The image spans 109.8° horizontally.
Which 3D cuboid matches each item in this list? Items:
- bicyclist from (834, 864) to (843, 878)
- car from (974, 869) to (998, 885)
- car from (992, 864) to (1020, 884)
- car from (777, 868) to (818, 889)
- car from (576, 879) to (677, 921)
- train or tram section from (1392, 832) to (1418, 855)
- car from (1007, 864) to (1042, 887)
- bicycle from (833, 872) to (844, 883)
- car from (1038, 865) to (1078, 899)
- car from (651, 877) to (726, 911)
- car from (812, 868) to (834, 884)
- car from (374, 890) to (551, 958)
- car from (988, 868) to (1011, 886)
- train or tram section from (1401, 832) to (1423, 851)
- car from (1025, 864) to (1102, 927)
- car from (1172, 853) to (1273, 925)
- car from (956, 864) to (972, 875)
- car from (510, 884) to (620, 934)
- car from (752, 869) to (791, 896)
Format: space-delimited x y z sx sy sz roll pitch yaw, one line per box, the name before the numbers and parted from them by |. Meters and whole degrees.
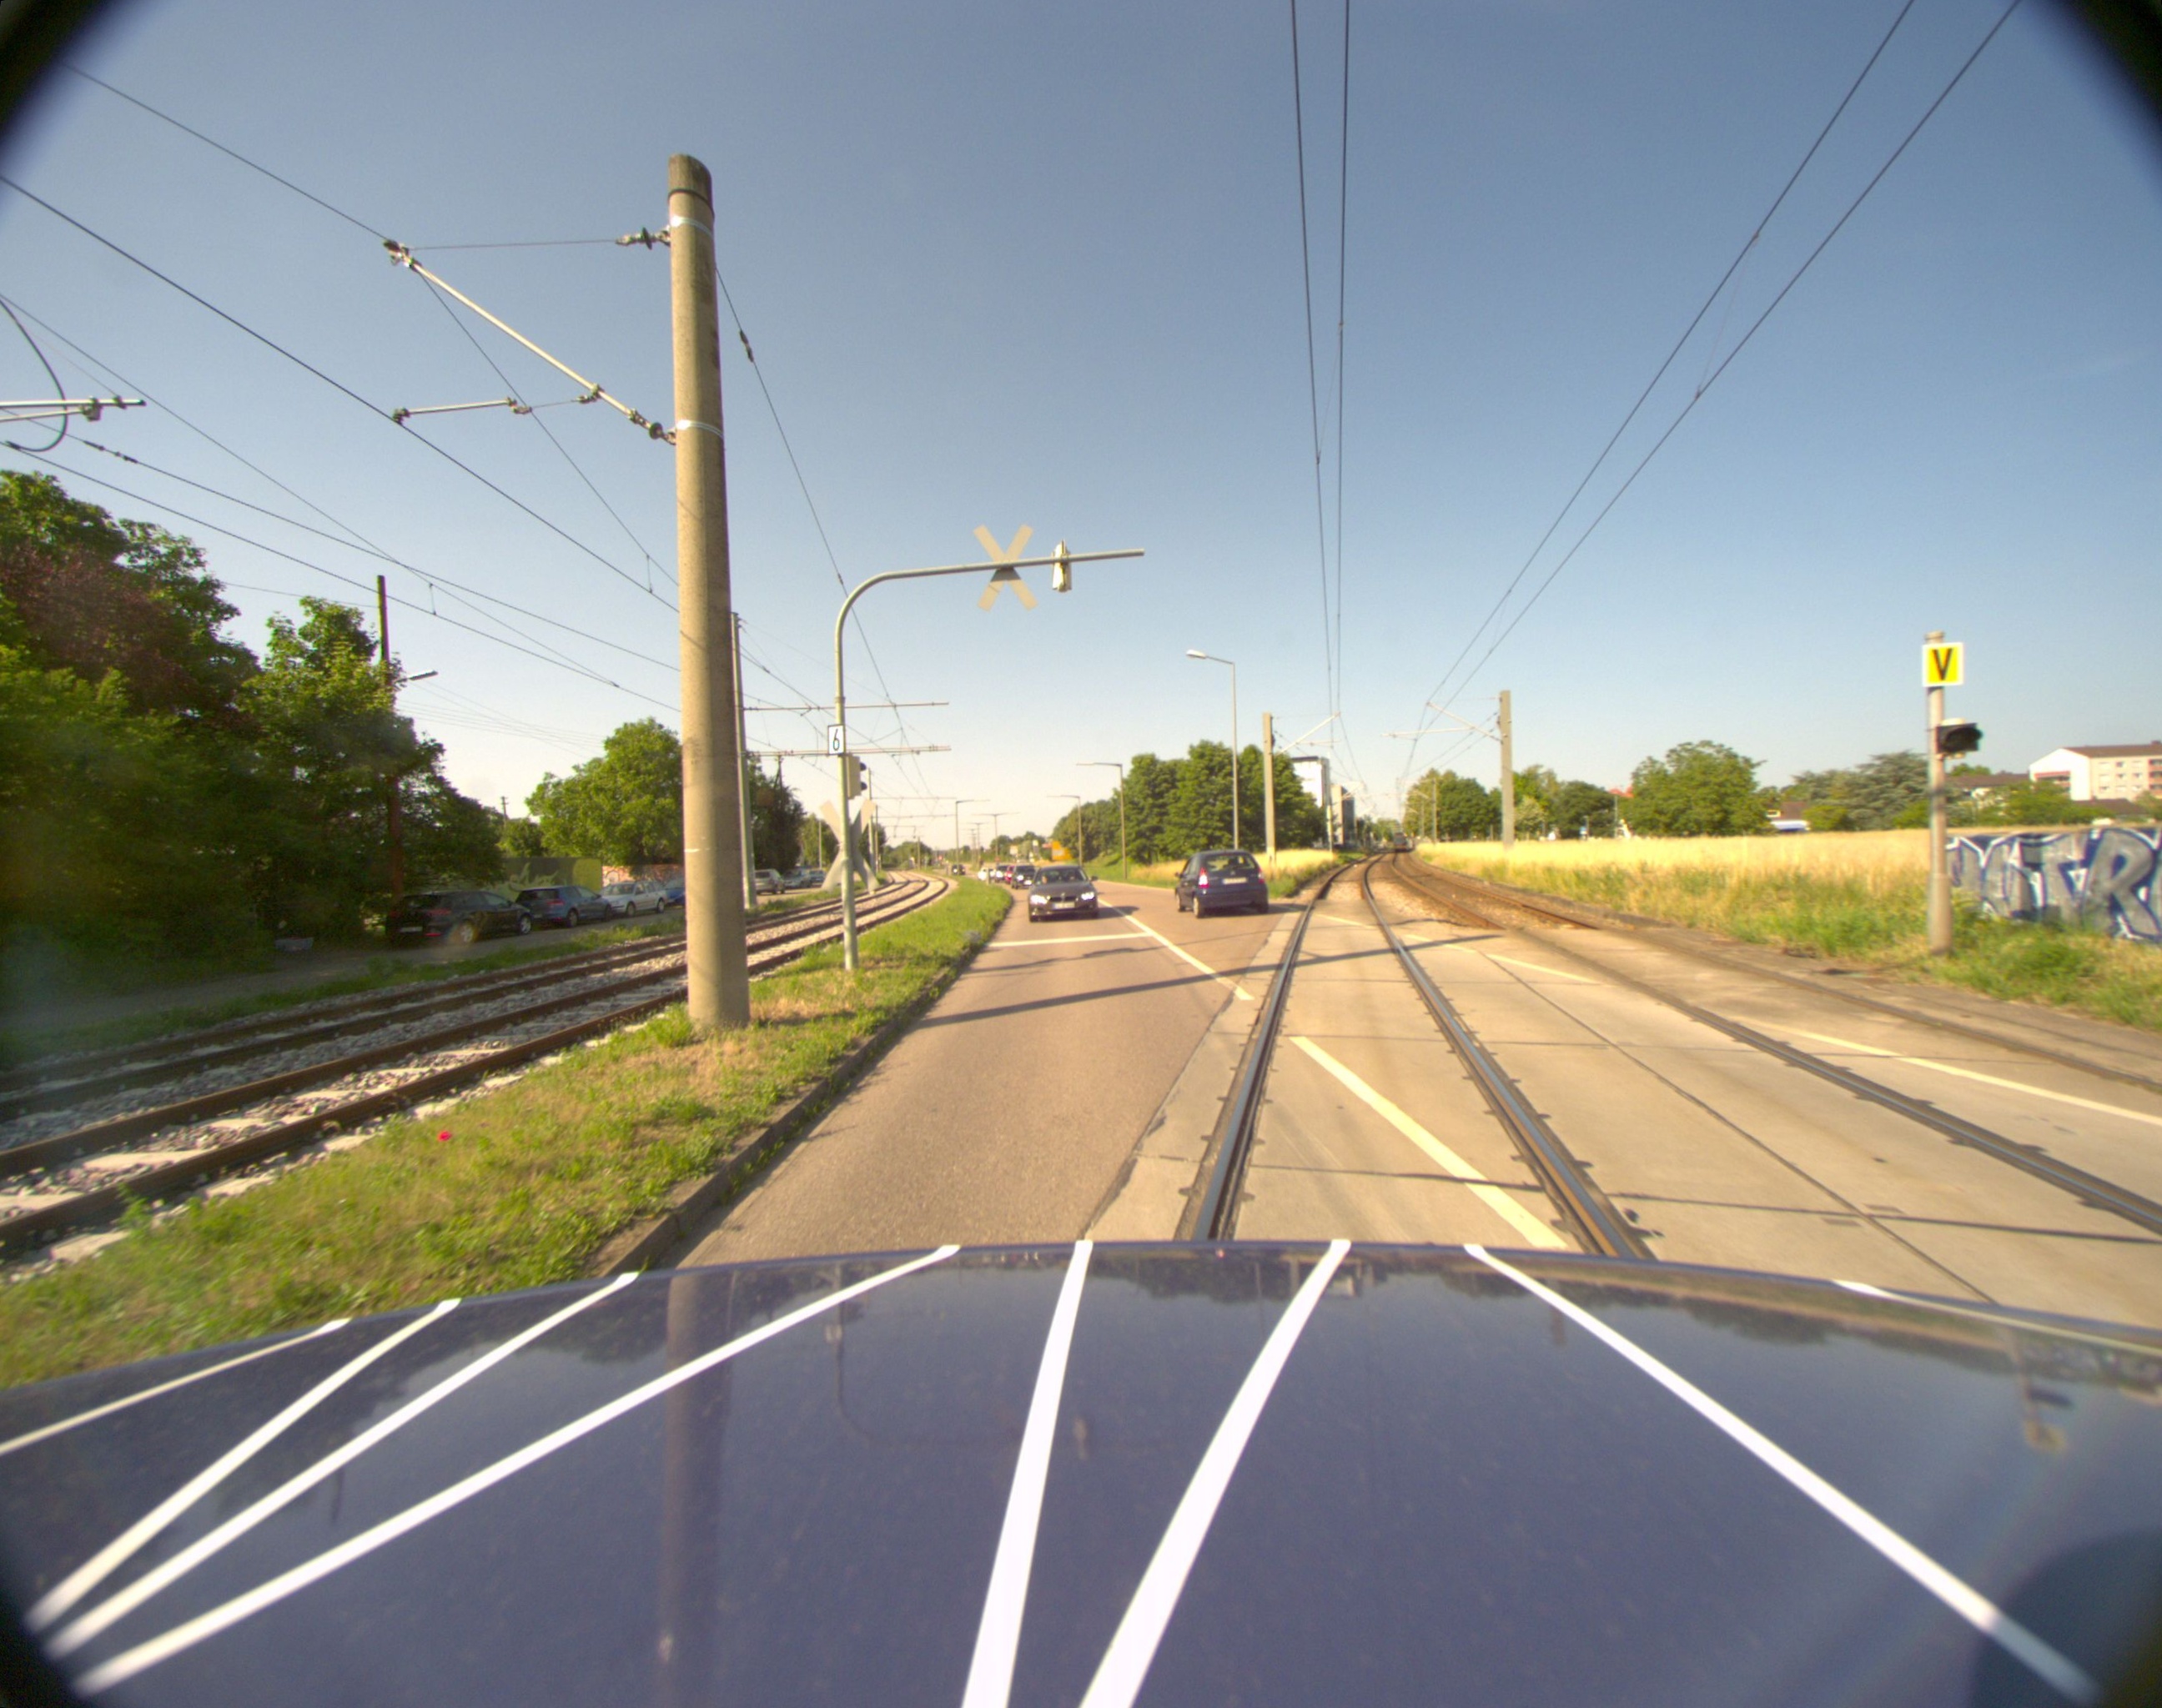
bicyclist | -21.843 1.541 68.411 0.641 1.226 0.790 -3 0 -11
car | -10.517 2.515 83.816 1.970 1.609 4.302 -3 0 -15
car | -6.400 1.666 64.434 1.849 1.587 3.735 -4 0 -11
car | -22.575 1.911 60.656 1.913 1.581 4.725 -1 -1 -7
car | -18.546 1.820 31.234 1.714 1.456 4.388 -2 0 -4
train or tram section | 60.136 -2.050 140.807 2.909 3.548 14.281 -3 2 28
car | -3.889 1.428 51.870 1.849 1.347 4.151 -4 0 -10
bicycle | -21.817 2.100 68.423 0.645 0.904 1.812 -3 0 -11
car | -1.161 1.316 36.747 1.711 1.444 4.589 -3 -1 -3
car | -19.129 1.905 37.193 1.682 1.421 3.910 -4 0 -3
car | -24.694 2.114 72.865 1.540 1.439 4.127 -1 -1 -13
car | -17.192 1.874 21.470 1.627 1.402 4.519 -3 0 -7
car | -7.808 2.147 72.313 1.609 1.504 4.263 -4 0 -13
train or tram section | 66.402 -2.538 152.340 2.919 3.434 12.185 -3 1 29
car | -0.569 1.040 20.783 1.748 1.444 3.944 -2 0 -6
car | 3.291 0.793 18.388 1.628 1.485 4.000 -2 -1 0
car | -17.402 2.314 112.604 1.839 1.504 4.148 -4 0 -14
car | -17.741 1.839 26.349 1.489 1.393 4.147 -2 0 -9
car | -19.966 1.795 49.147 1.527 1.601 4.480 -1 -1 -11
